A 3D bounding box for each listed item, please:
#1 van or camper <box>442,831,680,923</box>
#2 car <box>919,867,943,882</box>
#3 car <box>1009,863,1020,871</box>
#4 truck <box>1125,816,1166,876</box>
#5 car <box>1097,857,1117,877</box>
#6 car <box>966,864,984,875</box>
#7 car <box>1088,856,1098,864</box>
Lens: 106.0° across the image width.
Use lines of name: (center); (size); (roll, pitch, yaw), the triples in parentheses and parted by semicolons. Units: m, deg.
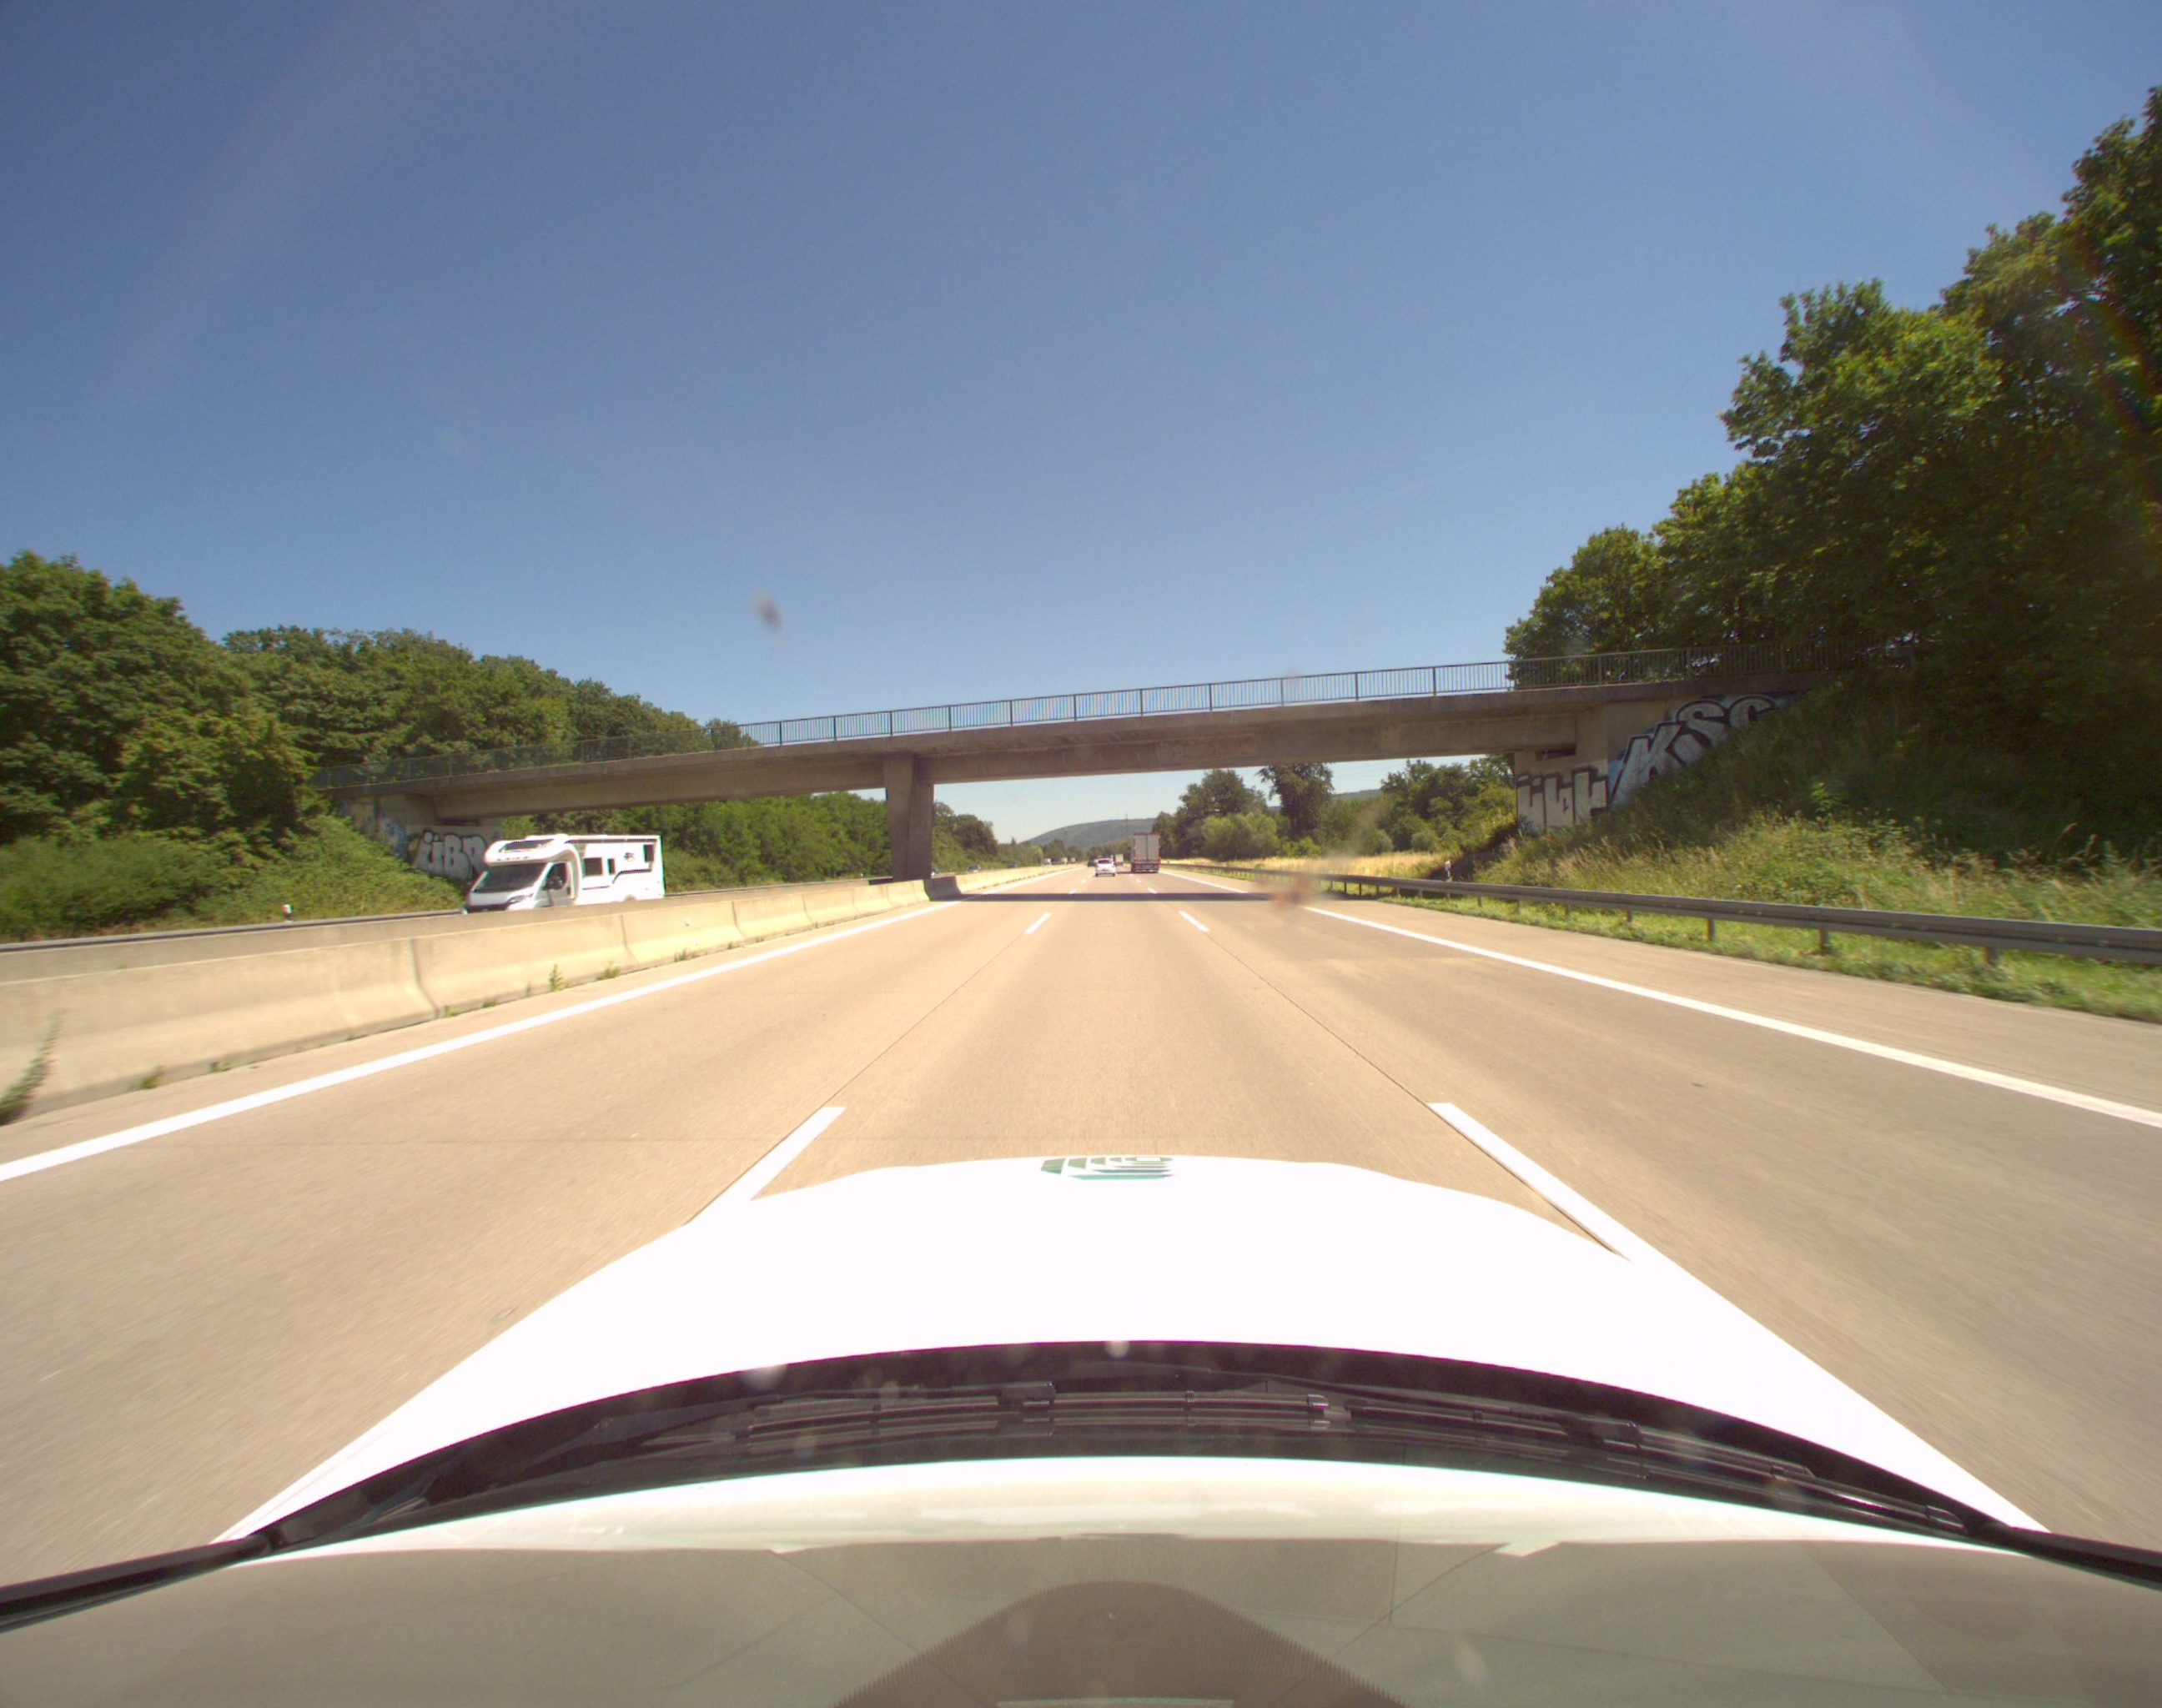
van or camper: (-15.702, 0.627, 25.465); (2.240, 2.443, 7.804); (0, 0, 2)
car: (-14.441, 1.917, 78.562); (1.559, 1.319, 3.633); (-2, 0, 2)
car: (-11.606, 2.207, 142.957); (1.560, 1.319, 3.633); (-2, 0, 1)
truck: (6.763, -0.731, 87.973); (3.563, 5.787, 18.257); (-1, 0, 2)
car: (2.231, 1.085, 70.179); (1.635, 1.662, 3.361); (0, 0, 2)
car: (-13.667, 1.989, 105.208); (1.559, 1.319, 4.374); (-2, 0, 2)
car: (2.552, 1.366, 178.174); (2.016, 1.700, 3.998); (0, -1, -1)
